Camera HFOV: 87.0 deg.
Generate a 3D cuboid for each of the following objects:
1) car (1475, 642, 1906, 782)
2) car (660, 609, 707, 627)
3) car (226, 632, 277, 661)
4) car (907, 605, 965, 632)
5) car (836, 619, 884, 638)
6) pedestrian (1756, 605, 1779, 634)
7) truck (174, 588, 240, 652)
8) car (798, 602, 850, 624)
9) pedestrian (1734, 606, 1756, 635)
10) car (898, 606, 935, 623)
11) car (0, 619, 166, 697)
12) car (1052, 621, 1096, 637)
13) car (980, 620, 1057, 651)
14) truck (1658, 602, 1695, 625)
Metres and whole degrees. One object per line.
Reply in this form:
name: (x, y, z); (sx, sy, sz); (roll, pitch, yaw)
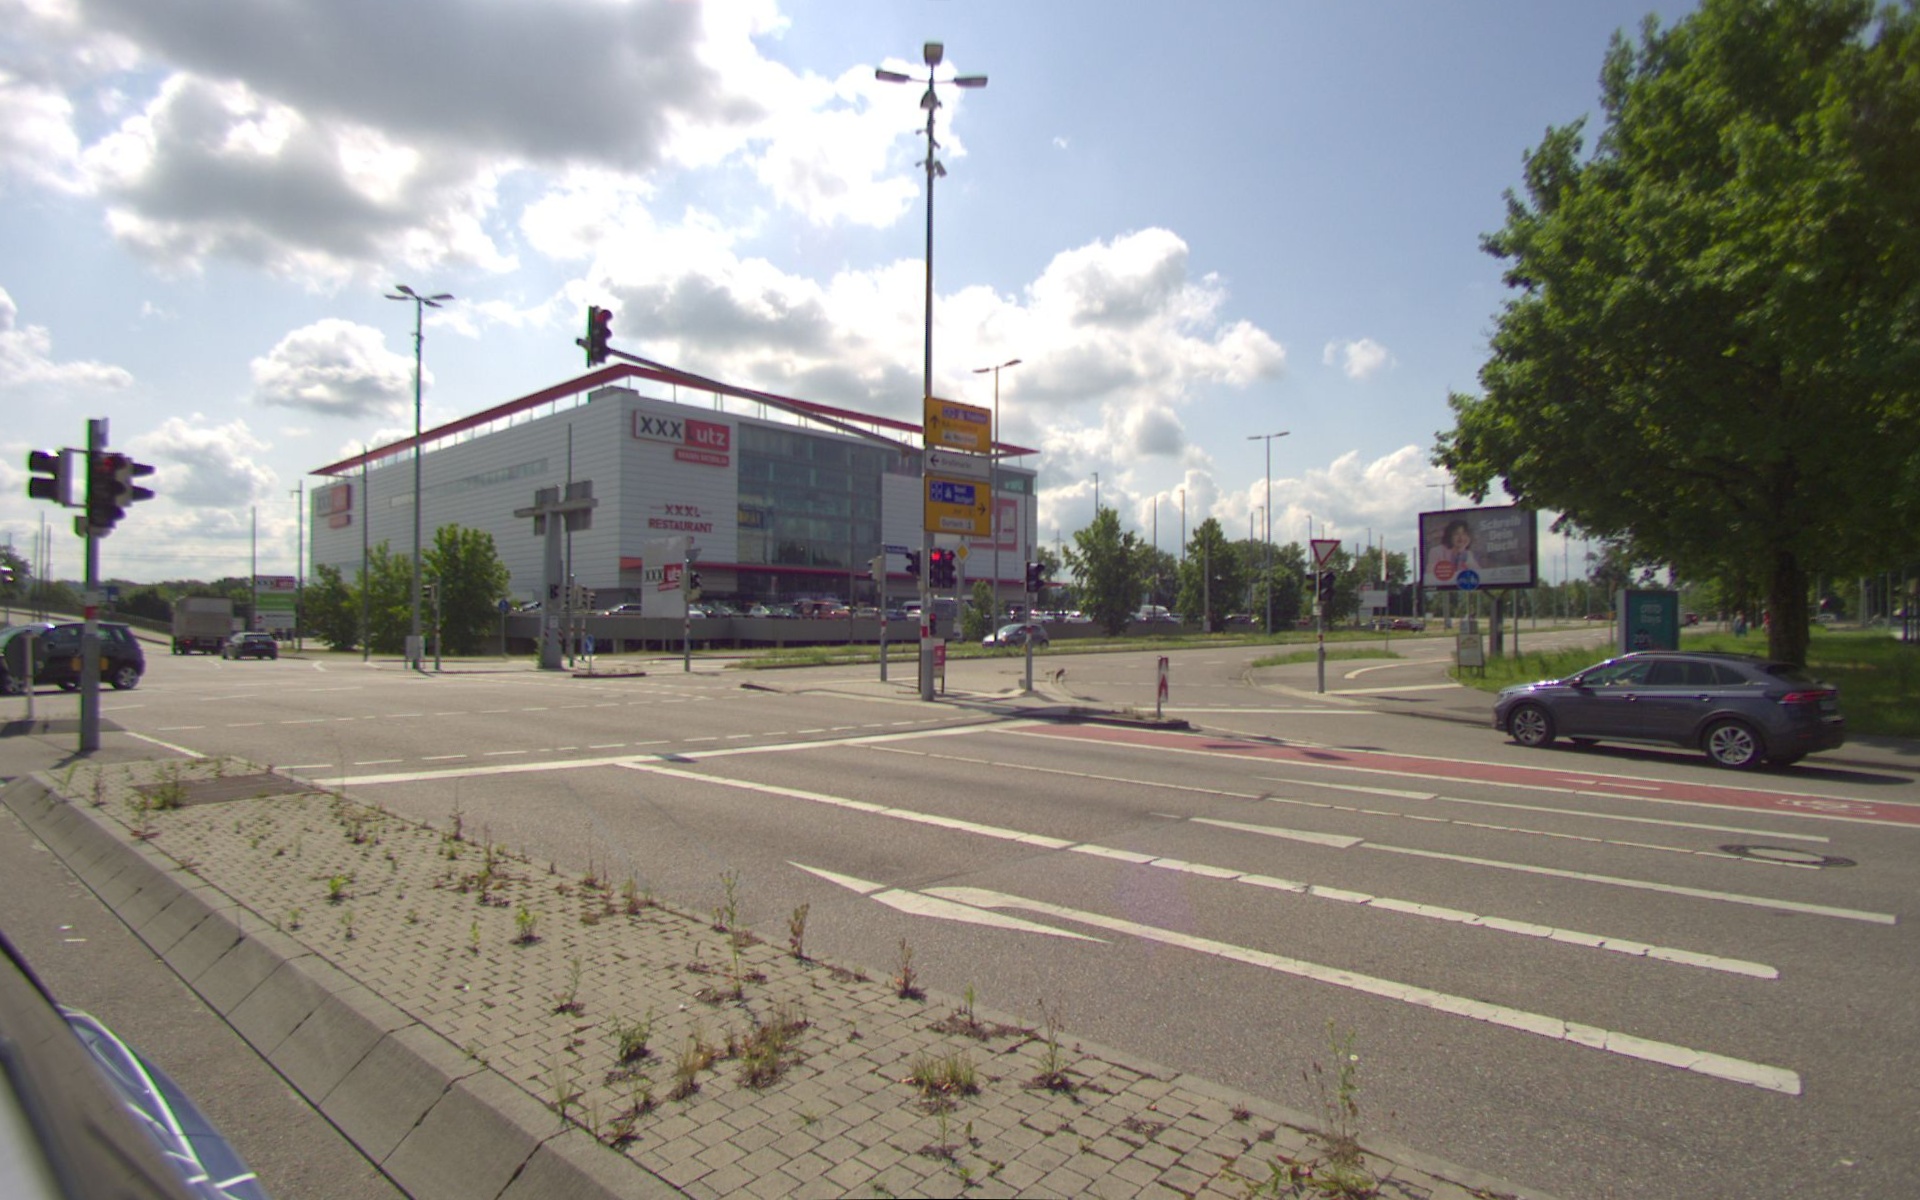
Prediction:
car: (10.069, 1.419, 14.321); (1.866, 1.567, 4.596); (1, -2, -38)
car: (-24.464, 1.579, 89.448); (4.422, 1.482, 1.928); (-3, -2, 42)
car: (-38.475, 2.502, 54.881); (1.752, 1.489, 4.685); (0, -2, -42)
car: (-2.268, 1.757, 94.611); (5.797, 2.301, 1.725); (-4, -3, 42)
car: (-9.027, 2.534, 91.036); (4.424, 1.618, 1.927); (-3, -3, 44)
pedestrian: (49.041, 1.187, 61.497); (1.147, 1.741, 0.855); (0, -3, -43)
truck: (-51.951, 1.476, 69.706); (3.172, 4.058, 9.085); (0, -2, -40)
car: (-11.687, 1.137, 86.992); (4.174, 1.763, 1.896); (-3, -2, 31)
pedestrian: (48.754, 1.270, 62.853); (1.147, 1.741, 0.855); (0, -3, -43)
car: (-4.996, 1.657, 116.101); (4.001, 1.763, 1.889); (-4, -3, 44)
car: (-19.598, 1.233, 21.566); (1.589, 1.542, 4.257); (0, -4, 9)
car: (12.196, 3.137, 108.598); (4.424, 1.618, 1.927); (-3, -3, 44)
car: (3.033, 1.798, 51.710); (1.608, 1.542, 4.208); (-2, -3, 44)
truck: (90.794, 1.655, 128.193); (2.974, 2.773, 5.703); (-4, -2, 42)
